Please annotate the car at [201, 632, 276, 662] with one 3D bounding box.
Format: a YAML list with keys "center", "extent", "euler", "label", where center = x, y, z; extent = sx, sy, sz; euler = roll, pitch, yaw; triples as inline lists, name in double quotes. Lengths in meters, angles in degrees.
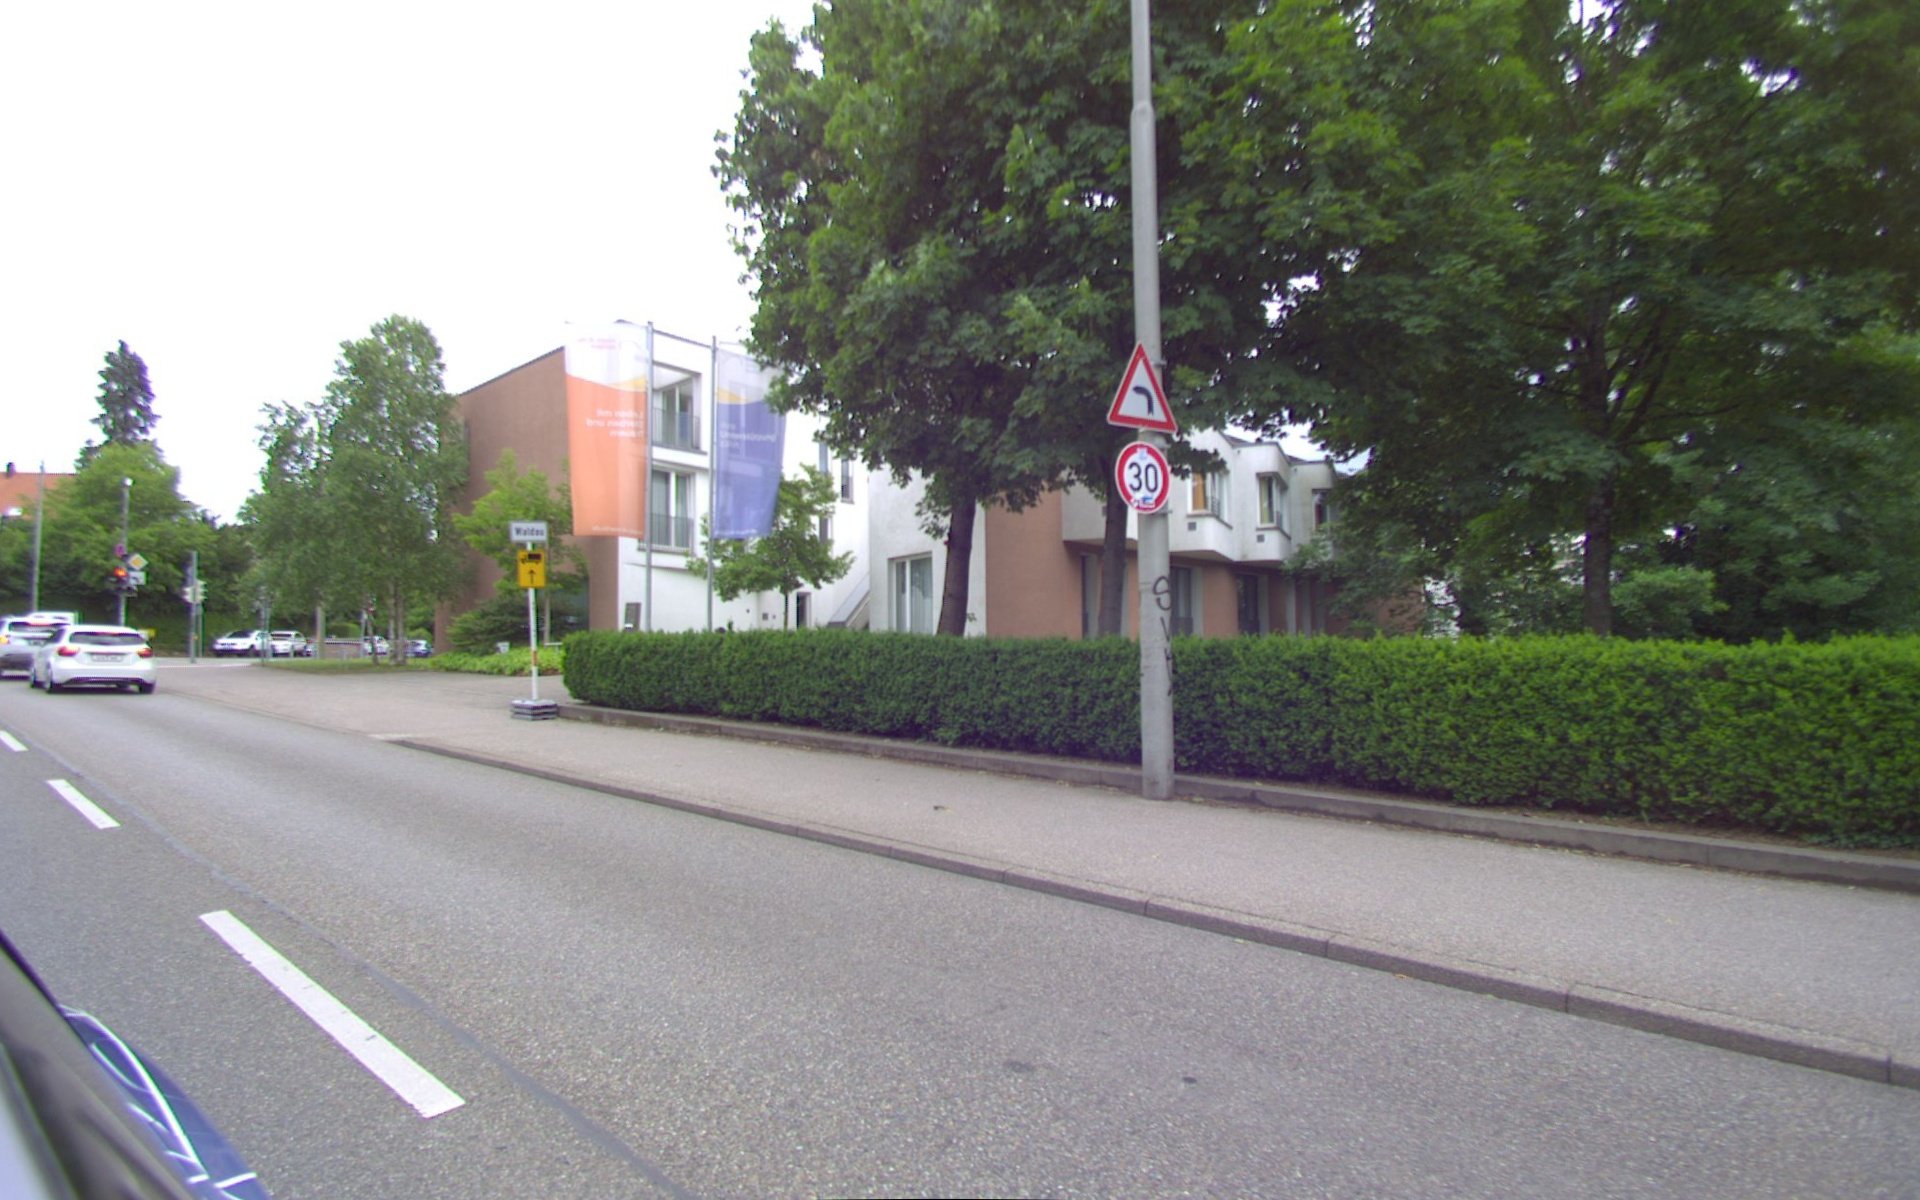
- center: [-41.751, 2.736, 58.687]
  extent: [1.968, 1.625, 4.008]
  euler: [2, -3, -10]
  label: "car"

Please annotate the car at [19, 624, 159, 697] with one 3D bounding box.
- center: [-19.065, 1.287, 22.094]
  extent: [4.064, 1.432, 1.747]
  euler: [-1, -4, 42]
  label: "car"

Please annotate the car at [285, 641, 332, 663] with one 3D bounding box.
- center: [-44.850, 3.551, 69.742]
  extent: [1.840, 1.464, 3.742]
  euler: [1, -3, -20]
  label: "car"

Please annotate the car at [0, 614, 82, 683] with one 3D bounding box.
- center: [-24.489, 1.256, 26.443]
  extent: [4.301, 1.650, 1.750]
  euler: [-1, -5, 42]
  label: "car"

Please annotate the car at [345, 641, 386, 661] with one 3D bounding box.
- center: [-49.343, 4.247, 84.058]
  extent: [1.841, 1.599, 3.740]
  euler: [1, -3, -13]
  label: "car"

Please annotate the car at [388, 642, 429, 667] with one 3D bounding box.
- center: [-34.591, 3.402, 63.536]
  extent: [1.848, 1.460, 4.013]
  euler: [3, -3, -23]
  label: "car"

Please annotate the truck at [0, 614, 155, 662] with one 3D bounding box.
- center: [-45.087, 1.936, 51.224]
  extent: [6.608, 2.205, 2.535]
  euler: [4, -4, -37]
  label: "truck"

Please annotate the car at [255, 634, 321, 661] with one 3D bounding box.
- center: [-42.581, 3.005, 64.244]
  extent: [1.968, 1.625, 4.008]
  euler: [2, -3, -10]
  label: "car"
